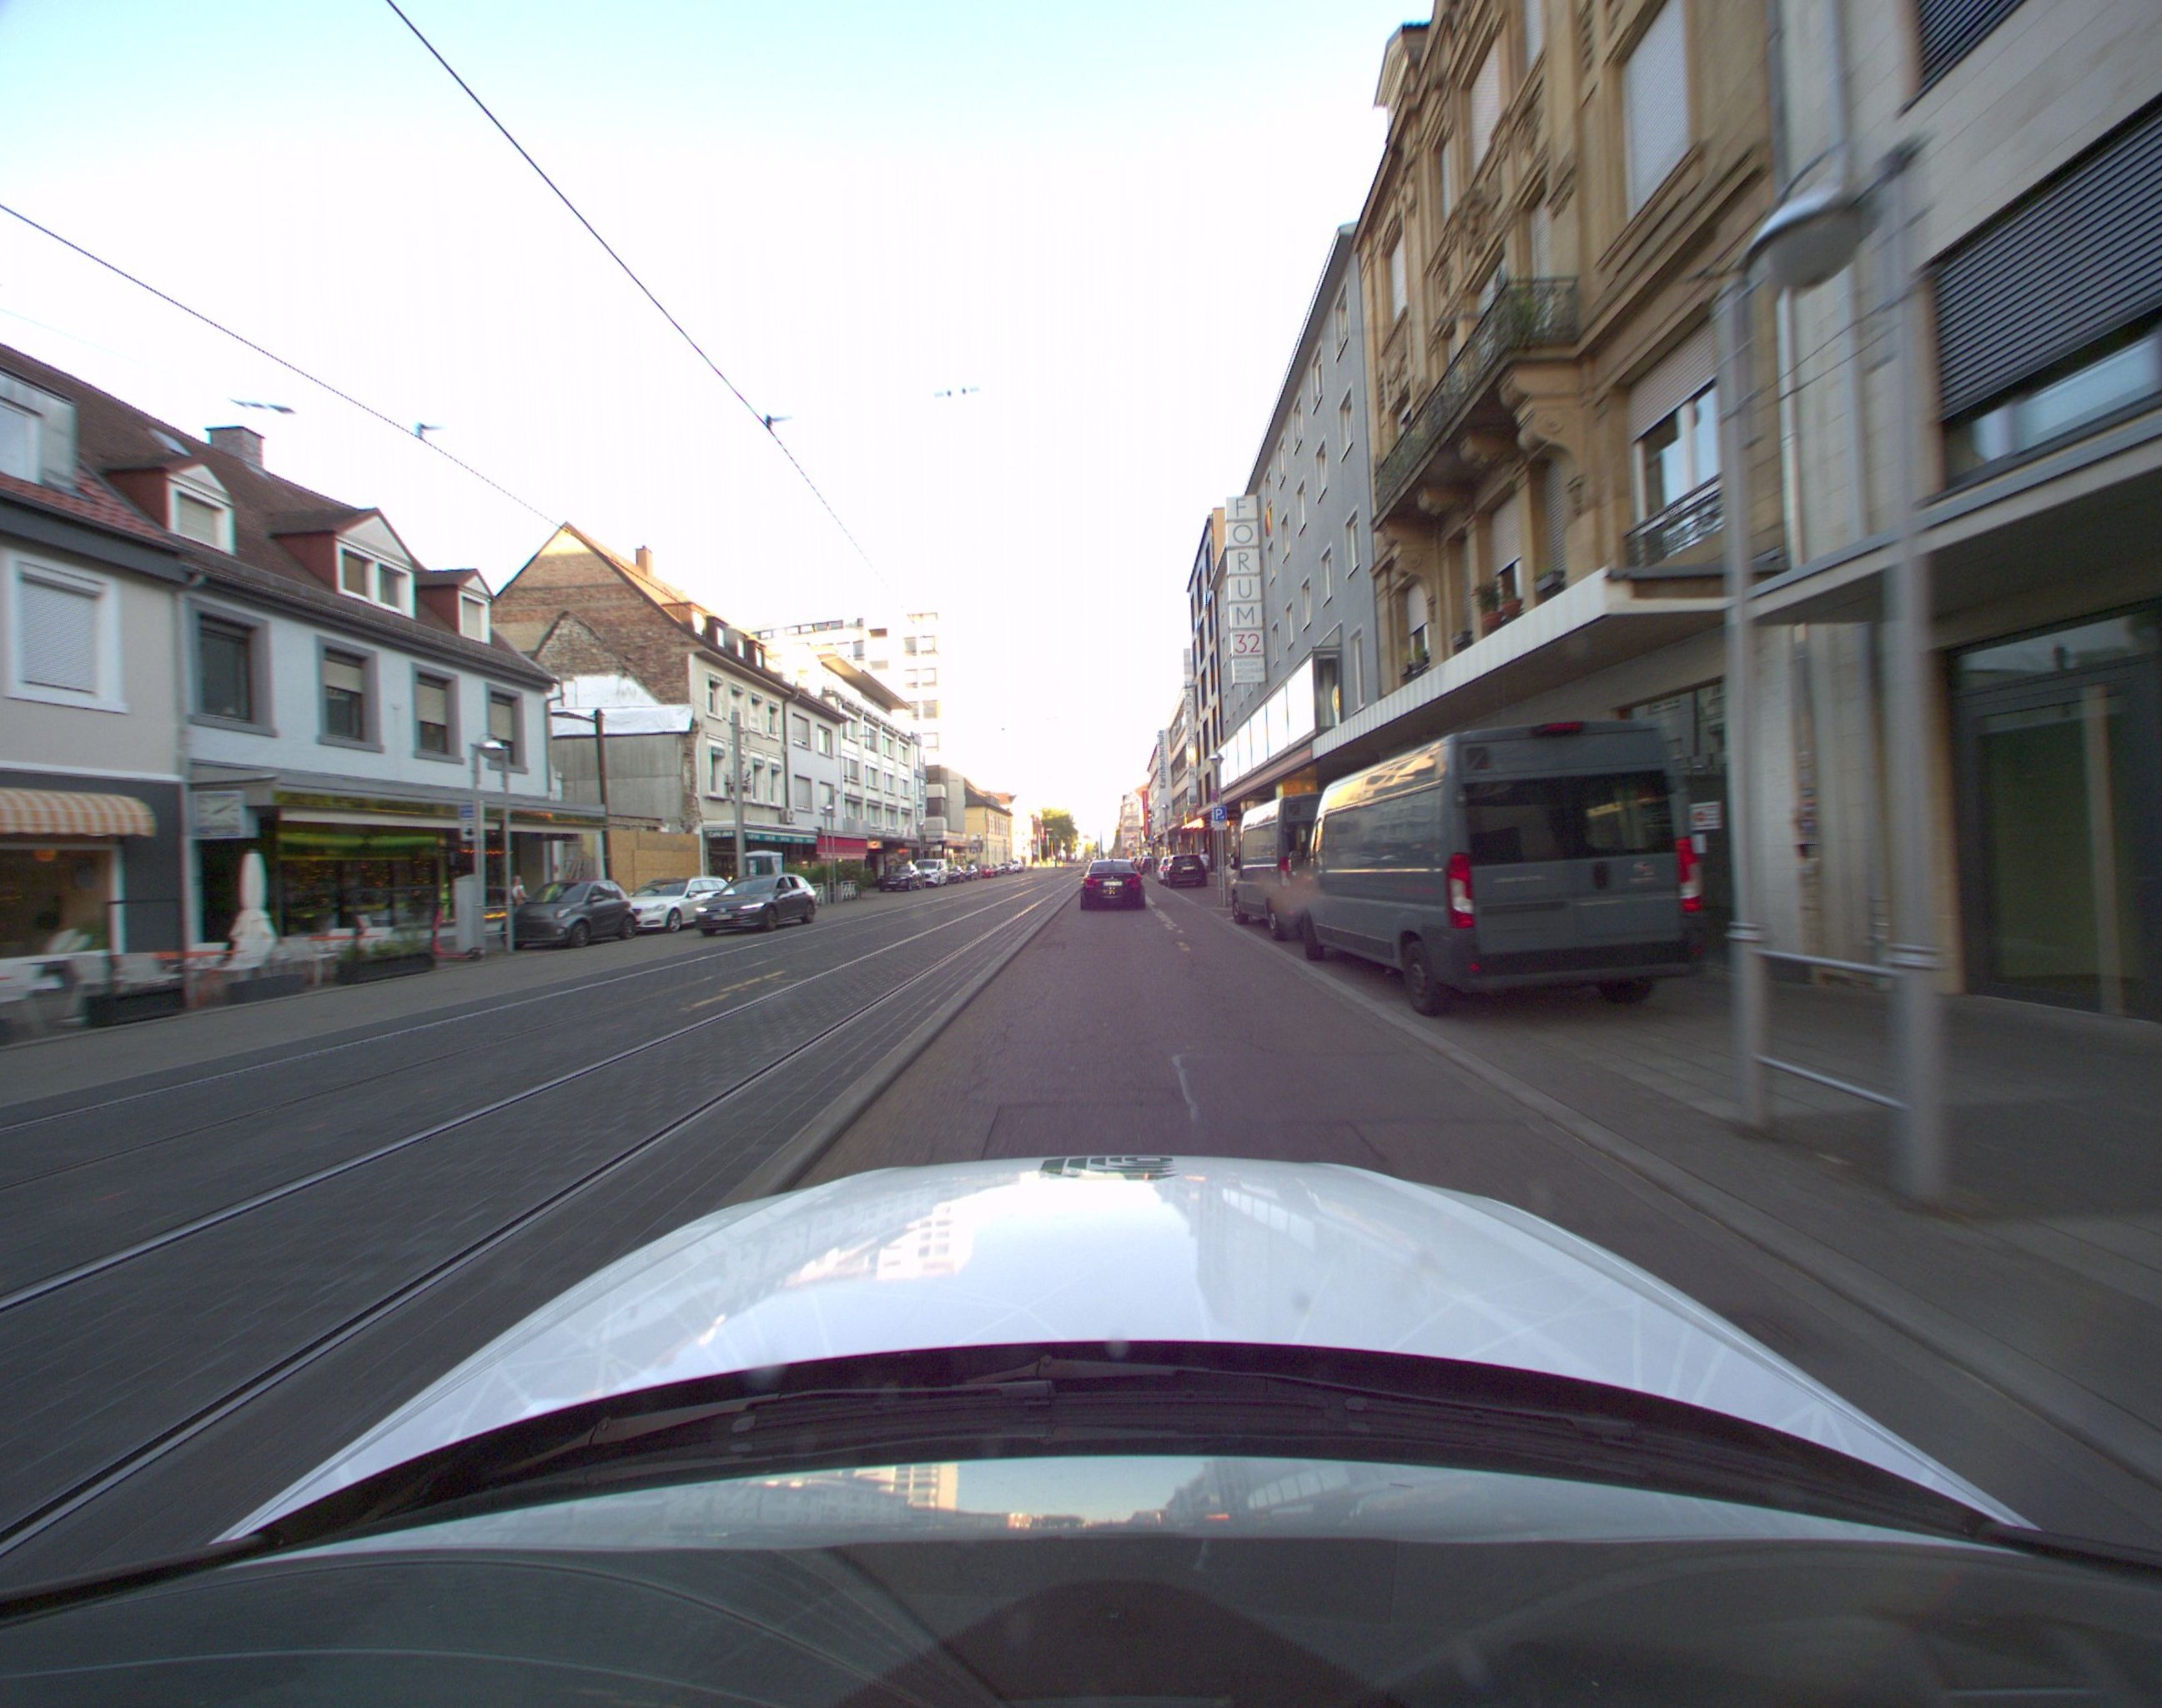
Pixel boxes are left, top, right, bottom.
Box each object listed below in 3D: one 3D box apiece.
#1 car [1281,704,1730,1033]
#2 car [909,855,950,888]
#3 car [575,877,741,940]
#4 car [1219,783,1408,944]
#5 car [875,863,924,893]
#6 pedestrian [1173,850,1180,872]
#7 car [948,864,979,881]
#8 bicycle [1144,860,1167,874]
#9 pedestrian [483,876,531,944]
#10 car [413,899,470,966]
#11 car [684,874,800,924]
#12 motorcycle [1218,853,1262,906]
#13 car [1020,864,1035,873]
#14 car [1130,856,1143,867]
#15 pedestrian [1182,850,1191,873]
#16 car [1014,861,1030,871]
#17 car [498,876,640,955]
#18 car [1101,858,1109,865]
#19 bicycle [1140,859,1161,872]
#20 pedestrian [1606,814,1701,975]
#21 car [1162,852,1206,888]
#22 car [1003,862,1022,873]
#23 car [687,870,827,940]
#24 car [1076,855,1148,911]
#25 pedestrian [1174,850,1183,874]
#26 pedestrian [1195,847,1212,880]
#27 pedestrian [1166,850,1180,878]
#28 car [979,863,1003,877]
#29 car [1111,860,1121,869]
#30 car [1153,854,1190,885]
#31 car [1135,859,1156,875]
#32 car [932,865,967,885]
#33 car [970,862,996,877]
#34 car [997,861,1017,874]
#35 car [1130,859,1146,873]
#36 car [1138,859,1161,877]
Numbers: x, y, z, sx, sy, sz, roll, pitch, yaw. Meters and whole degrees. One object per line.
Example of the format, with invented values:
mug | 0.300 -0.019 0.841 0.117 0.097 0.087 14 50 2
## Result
car | 4.064 0.124 9.410 2.085 2.455 6.034 -3 0 2
car | -10.779 1.204 58.154 1.987 2.156 4.909 -2 0 -1
car | -11.931 1.478 23.445 1.985 1.453 4.826 -2 0 3
car | 4.210 0.163 15.852 2.026 2.455 5.409 -4 0 1
car | -11.180 1.433 50.493 1.852 1.678 4.467 -1 0 2
pedestrian | 7.729 0.558 65.766 0.473 1.699 0.753 -3 -1 6
car | -10.379 1.643 72.421 1.921 1.435 4.248 -1 0 2
bicycle | 6.184 1.045 67.335 1.853 1.080 0.469 -2 -2 3
pedestrian | -14.373 1.380 20.417 0.660 1.644 0.695 -2 -1 2
car | -12.433 1.513 15.842 0.781 1.234 0.339 -3 -1 0
car | -11.743 1.508 28.581 1.985 1.453 4.333 -2 0 3
motorcycle | 4.607 0.711 23.757 0.841 1.419 2.166 -5 -1 2
car | -8.478 2.290 129.756 1.921 1.435 4.248 -1 0 2
car | 8.190 1.059 119.608 1.767 1.549 3.504 -2 -1 2
pedestrian | 8.222 0.590 63.367 0.506 1.792 0.760 -3 -1 2
car | -8.789 1.777 121.194 1.921 1.435 4.248 -1 0 2
car | -11.863 1.369 19.061 1.472 1.577 2.794 -3 0 0
car | 6.592 2.065 222.116 1.986 1.838 4.001 -2 -3 2
bicycle | 6.259 1.064 73.119 1.853 1.119 0.469 -2 -2 3
pedestrian | 6.112 0.422 8.721 0.548 1.644 0.533 -4 0 2
car | 4.802 0.717 38.387 1.648 1.537 3.887 -4 0 2
car | -9.004 1.737 107.048 1.921 1.435 4.248 -1 0 2
car | -8.498 1.271 21.841 1.685 1.453 4.468 -5 0 3
car | 1.014 0.828 24.932 1.945 1.498 4.469 -2 -1 3
pedestrian | 7.591 0.617 63.730 0.552 1.791 0.760 -3 -1 2
pedestrian | 6.603 0.509 43.912 0.686 1.740 0.821 -4 -1 3
pedestrian | 5.462 0.614 48.493 0.557 1.647 0.756 -3 -1 -14
car | -9.664 1.707 87.430 1.921 1.435 4.248 -1 0 2
car | 6.310 1.839 147.158 1.767 1.549 3.504 -2 -1 2
car | 4.807 0.795 43.659 1.553 1.442 3.710 -5 0 2
car | 6.557 1.330 83.275 1.895 1.549 3.782 -2 -1 2
car | -10.559 1.652 65.726 1.921 1.435 4.248 -1 0 2
car | -9.877 1.536 82.428 1.921 1.435 4.248 -1 0 2
car | -9.147 1.670 100.839 1.921 1.435 4.248 -3 0 2
car | 6.886 1.466 98.116 1.767 1.549 3.504 -2 -1 2
car | 6.385 1.312 76.466 1.895 1.549 4.002 -2 -1 2
